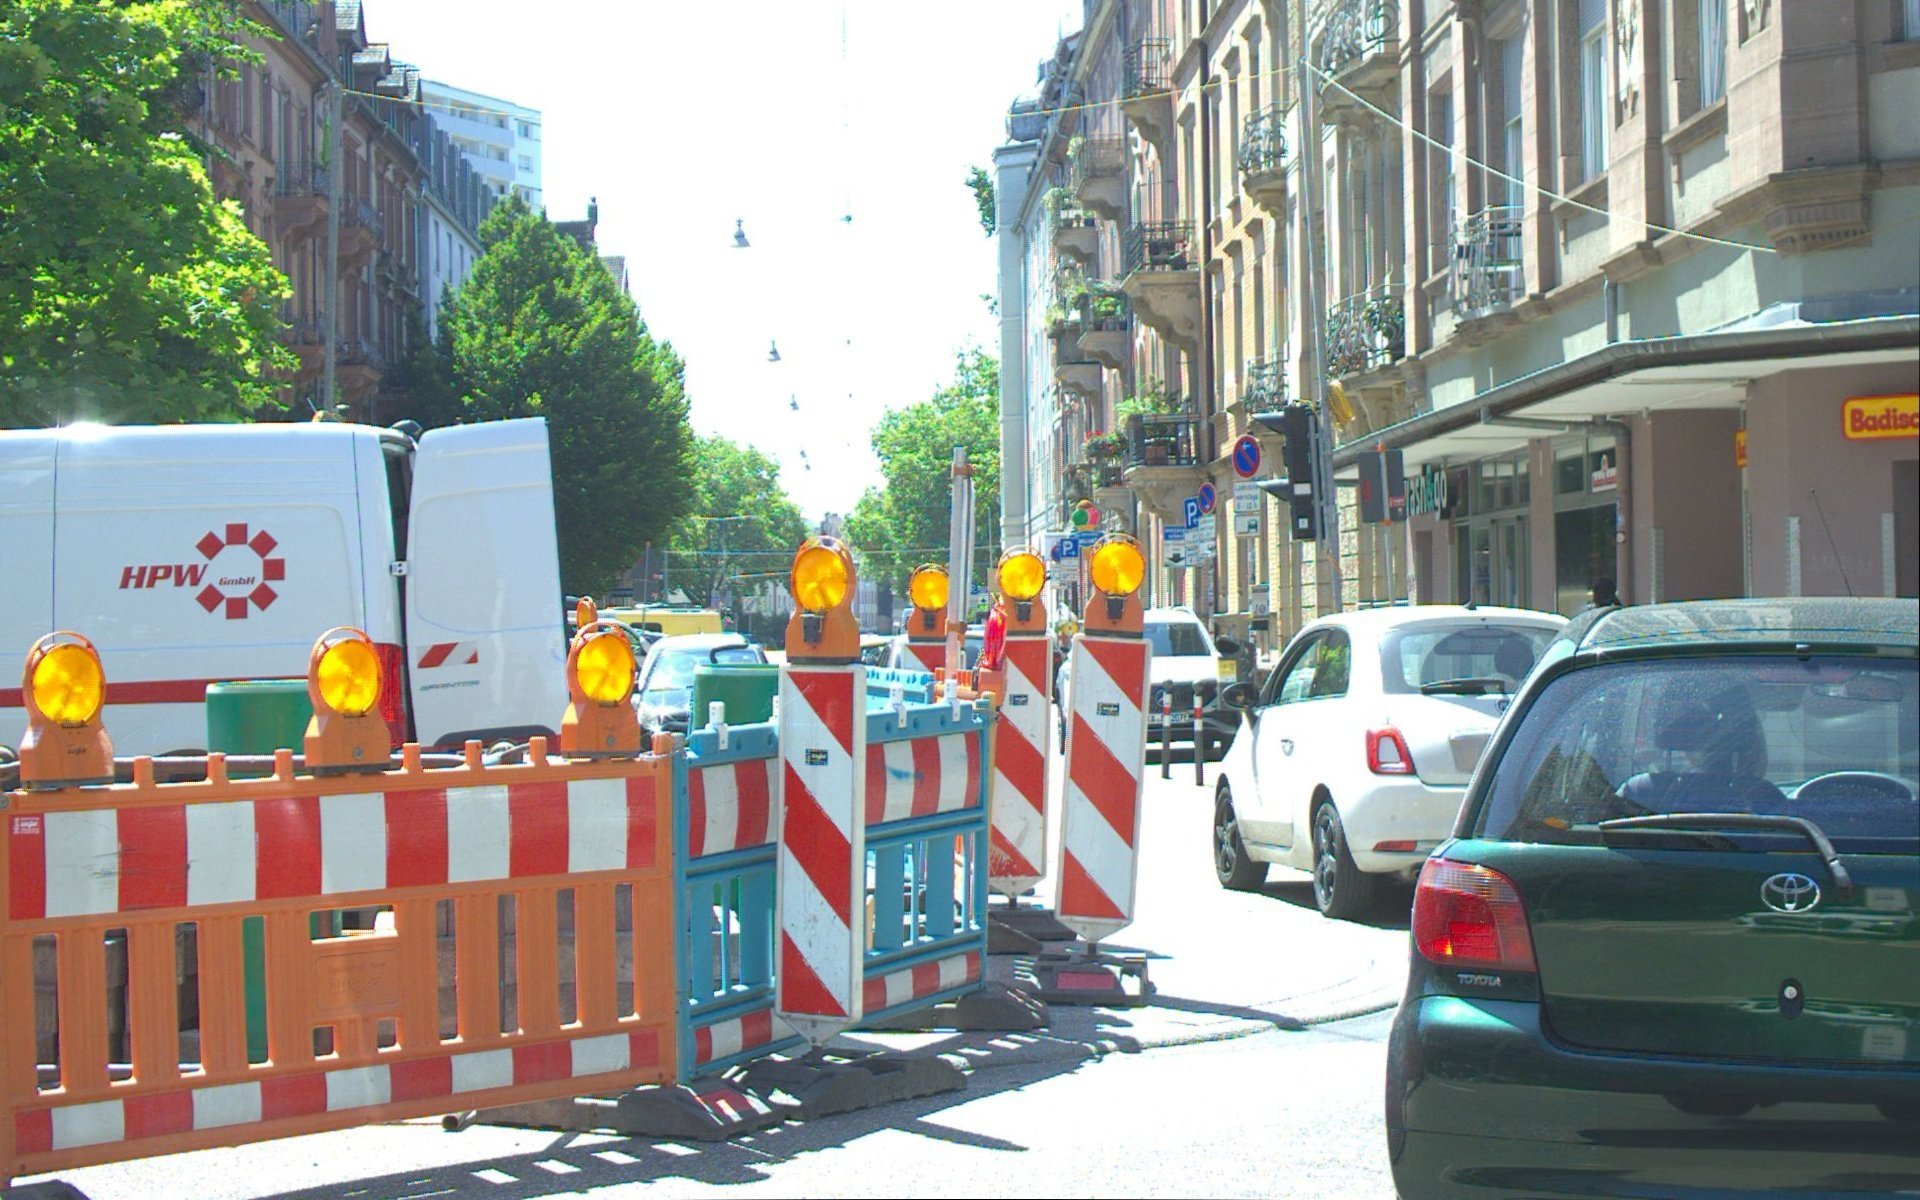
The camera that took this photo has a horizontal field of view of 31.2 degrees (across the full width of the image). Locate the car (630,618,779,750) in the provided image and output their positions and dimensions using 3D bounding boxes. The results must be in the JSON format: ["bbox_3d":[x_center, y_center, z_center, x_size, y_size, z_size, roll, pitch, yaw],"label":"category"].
[{"bbox_3d":[-3.510,1.134,47.867,1.754,1.640,4.377,-4,0,-1],"label":"car"}]

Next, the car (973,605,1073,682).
[{"bbox_3d":[1.204,0.840,67.190,1.754,1.424,4.000,-1,-1,-1],"label":"car"}]

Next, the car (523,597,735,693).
[{"bbox_3d":[-7.836,1.053,81.450,4.557,2.180,2.000,0,-1,-28],"label":"car"}]

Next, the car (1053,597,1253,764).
[{"bbox_3d":[2.130,0.888,39.096,1.871,1.708,4.504,-2,-1,-1],"label":"car"}]

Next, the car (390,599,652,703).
[{"bbox_3d":[-8.782,1.001,68.881,4.773,1.987,2.053,0,-1,-30],"label":"car"}]

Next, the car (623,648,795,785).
[{"bbox_3d":[-2.846,1.307,39.695,1.754,1.439,4.000,-1,-1,-1],"label":"car"}]

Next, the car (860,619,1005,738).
[{"bbox_3d":[-0.458,1.166,52.089,1.993,1.612,4.000,-3,0,-2],"label":"car"}]

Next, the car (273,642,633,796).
[{"bbox_3d":[-6.234,1.447,42.370,3.987,1.798,1.769,1,-1,-31],"label":"car"}]

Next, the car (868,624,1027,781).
[{"bbox_3d":[-0.169,1.076,37.283,1.522,1.587,3.264,-1,0,-3],"label":"car"}]

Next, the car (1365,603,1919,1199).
[{"bbox_3d":[2.004,0.763,7.773,1.615,1.480,3.238,1,0,17],"label":"car"}]

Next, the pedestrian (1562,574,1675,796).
[{"bbox_3d":[4.896,0.622,25.603,0.641,1.618,0.804,-1,0,-1],"label":"pedestrian"}]

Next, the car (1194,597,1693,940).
[{"bbox_3d":[2.300,0.762,17.129,1.522,1.516,3.264,-1,0,-10],"label":"car"}]

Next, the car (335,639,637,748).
[{"bbox_3d":[-6.775,1.311,49.291,3.912,1.465,1.865,0,-1,-42],"label":"car"}]

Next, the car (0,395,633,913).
[{"bbox_3d":[-5.310,0.276,19.670,6.621,2.742,2.380,1,-1,0],"label":"car"}]
